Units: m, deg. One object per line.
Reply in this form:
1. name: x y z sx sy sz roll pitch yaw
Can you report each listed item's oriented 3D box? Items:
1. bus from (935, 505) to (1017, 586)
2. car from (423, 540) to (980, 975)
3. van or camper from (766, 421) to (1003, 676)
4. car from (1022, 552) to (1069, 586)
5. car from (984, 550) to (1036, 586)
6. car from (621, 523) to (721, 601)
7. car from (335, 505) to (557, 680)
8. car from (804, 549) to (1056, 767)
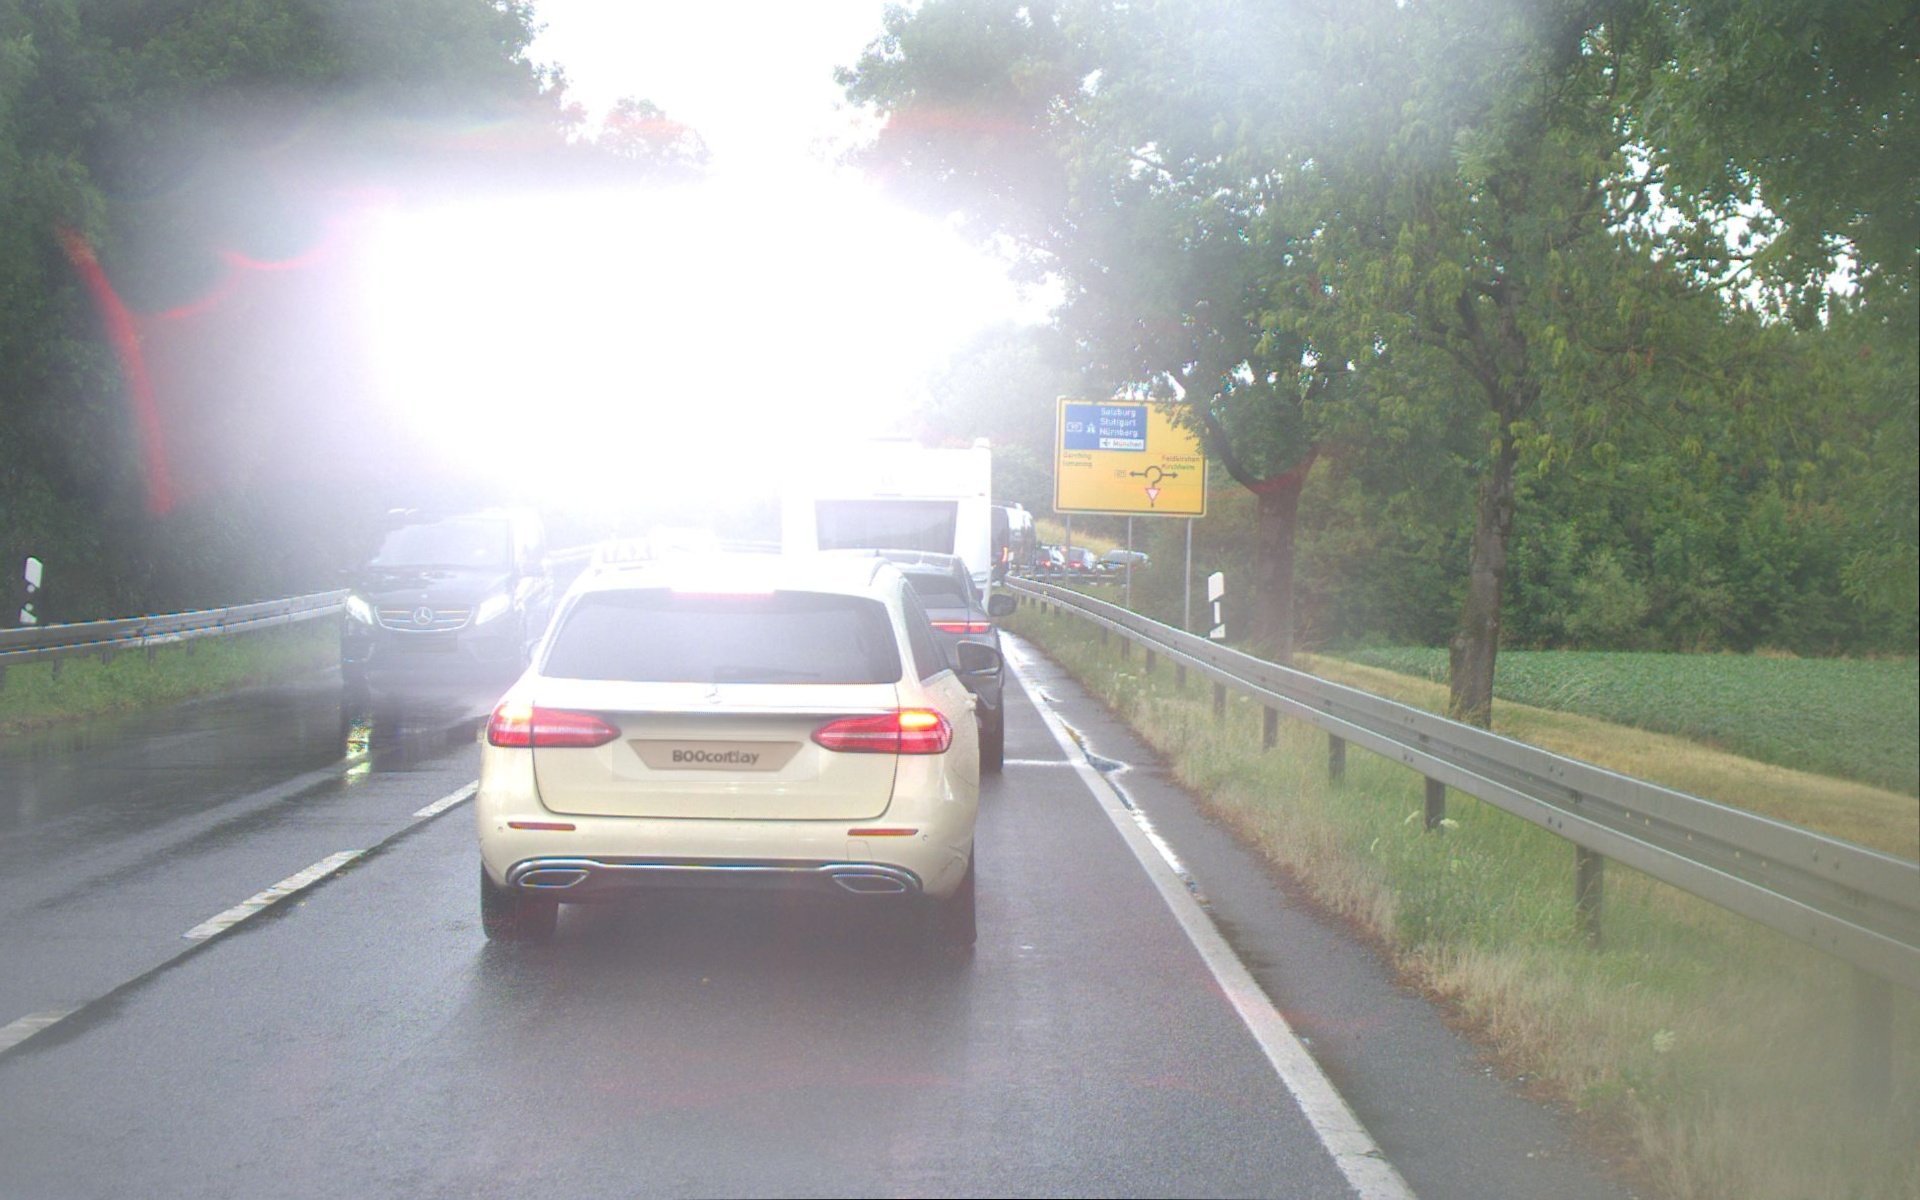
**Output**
1. bus: 0.382 -1.376 86.602 1.993 2.007 4.000 0 1 -1
2. car: -0.870 0.502 13.706 1.865 1.471 4.000 0 1 1
3. van or camper: -0.772 -0.601 39.559 2.489 2.676 5.700 1 1 1
4. car: 2.965 -1.084 120.102 1.551 1.114 4.000 1 1 1
5. car: 1.602 -1.028 110.935 1.551 1.114 4.000 1 1 -1
6. car: -5.565 -0.747 66.514 1.628 1.433 3.960 1 1 -1
7. car: -5.566 -0.117 37.708 1.828 1.796 4.415 0 1 -1
8. car: -0.175 0.356 24.762 1.664 1.426 4.000 0 1 1
